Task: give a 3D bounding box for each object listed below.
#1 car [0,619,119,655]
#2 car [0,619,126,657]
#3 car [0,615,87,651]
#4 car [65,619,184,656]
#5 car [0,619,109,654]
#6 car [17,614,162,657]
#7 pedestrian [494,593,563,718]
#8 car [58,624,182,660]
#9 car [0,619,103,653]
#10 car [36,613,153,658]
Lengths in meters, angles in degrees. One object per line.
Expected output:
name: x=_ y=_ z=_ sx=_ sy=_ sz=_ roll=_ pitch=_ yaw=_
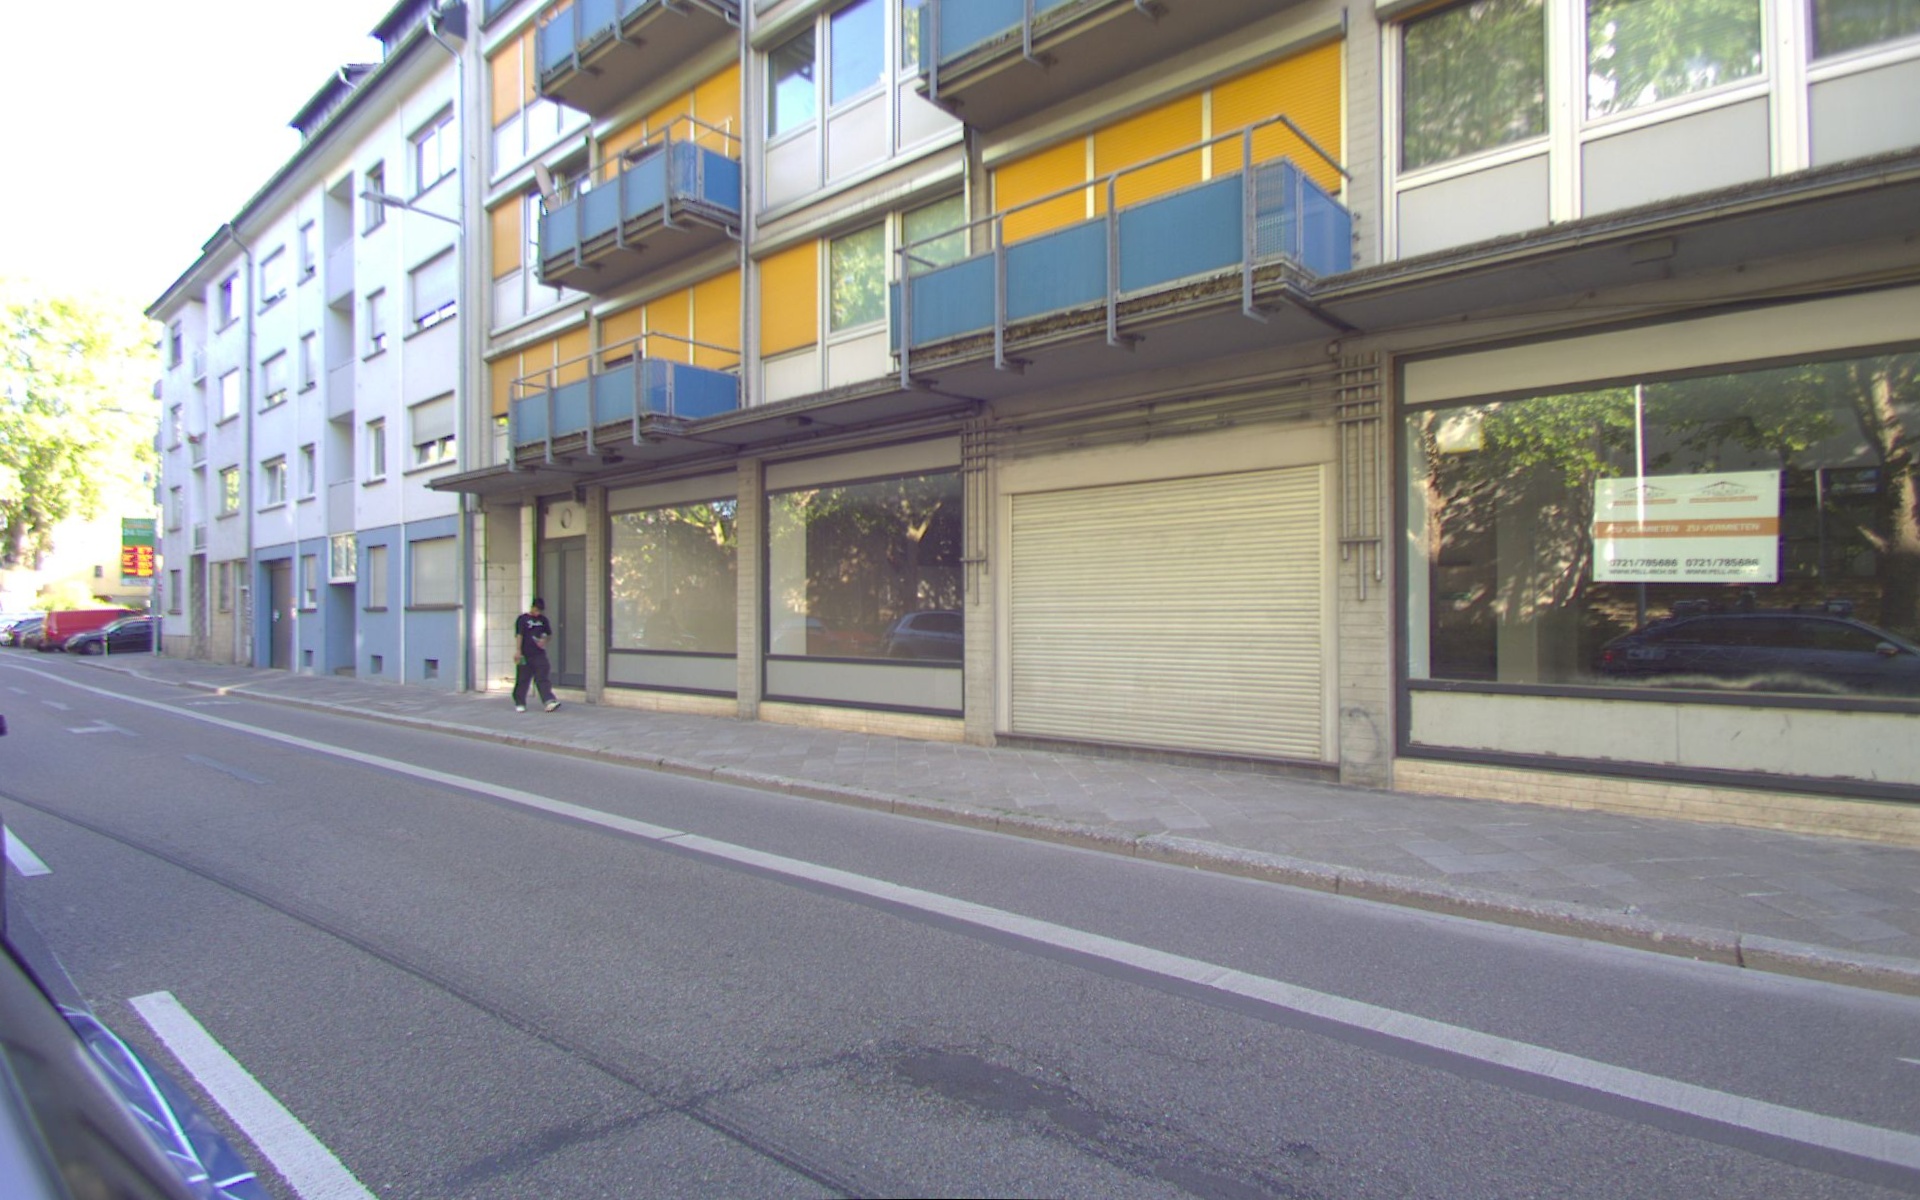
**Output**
car: x=-52.230 y=2.102 z=58.725 sx=2.159 sy=1.952 sz=4.990 roll=-1 pitch=-1 yaw=41
car: x=-50.291 y=2.080 z=56.837 sx=2.186 sy=1.952 sz=5.077 roll=-1 pitch=-1 yaw=41
car: x=-59.338 y=2.091 z=64.719 sx=2.186 sy=2.164 sz=5.077 roll=-1 pitch=-1 yaw=41
car: x=-37.870 y=1.672 z=45.949 sx=1.742 sy=1.572 sz=3.946 roll=-1 pitch=-1 yaw=41
car: x=-54.116 y=2.124 z=60.362 sx=2.082 sy=1.952 sz=4.928 roll=-1 pitch=-1 yaw=41
car: x=-42.684 y=1.695 z=49.721 sx=2.256 sy=1.995 sz=5.156 roll=-1 pitch=-1 yaw=41
pedestrian: x=-6.433 y=0.803 z=15.080 sx=0.793 sy=1.785 sz=0.655 roll=-1 pitch=-1 yaw=41
car: x=-36.546 y=1.782 z=44.084 sx=1.742 sy=1.431 sz=3.946 roll=-1 pitch=-1 yaw=41
car: x=-55.964 y=2.151 z=61.993 sx=2.314 sy=1.952 sz=4.978 roll=-1 pitch=-1 yaw=41
car: x=-40.583 y=1.628 z=47.523 sx=1.866 sy=1.952 sz=3.946 roll=-1 pitch=-1 yaw=41
